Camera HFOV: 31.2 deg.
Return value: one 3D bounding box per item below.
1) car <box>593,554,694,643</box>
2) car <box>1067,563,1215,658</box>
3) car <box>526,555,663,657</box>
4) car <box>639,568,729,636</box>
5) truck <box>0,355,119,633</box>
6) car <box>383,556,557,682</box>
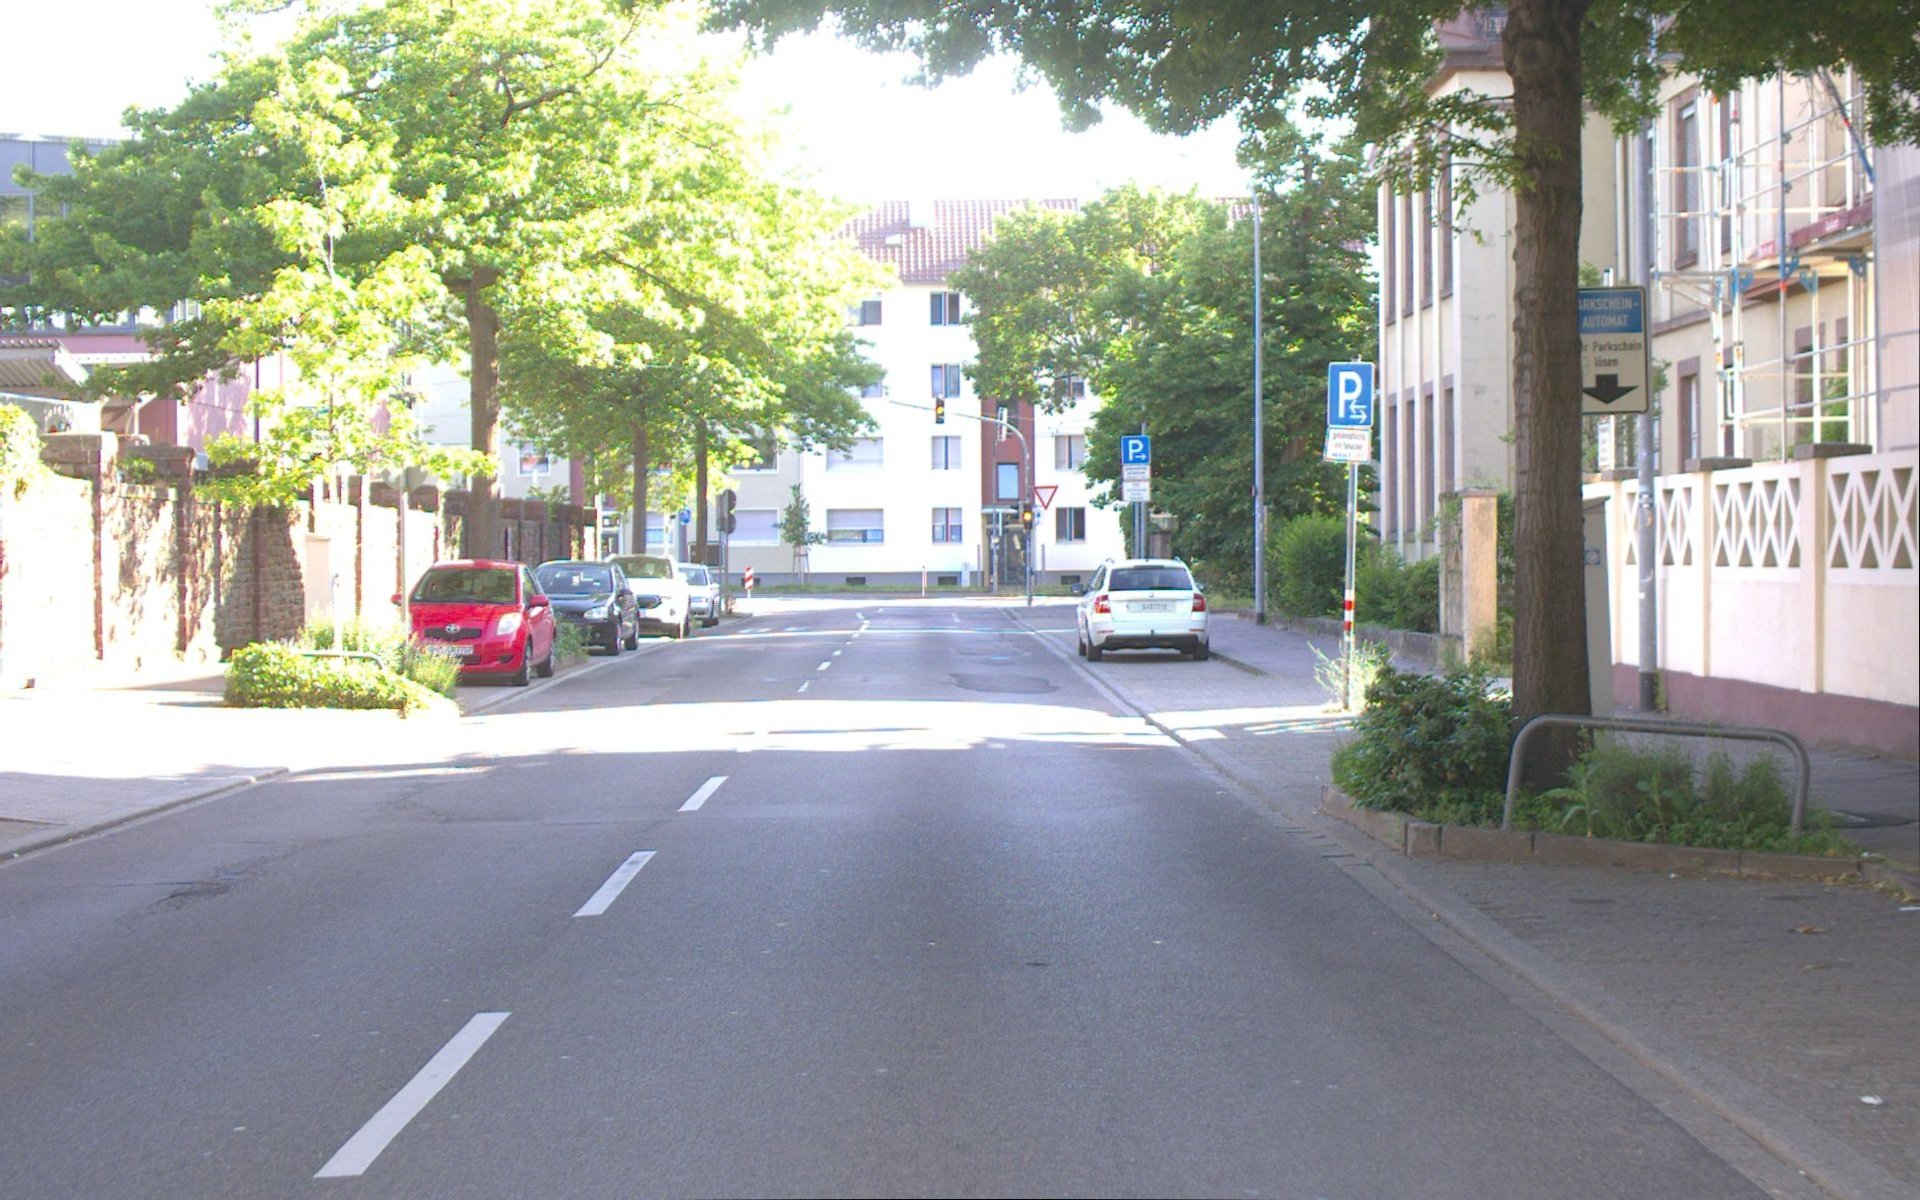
[{"bbox_3d":[-6.124,-0.049,66.916,1.720,1.678,4.351,0,1,-2],"label":"car"},{"bbox_3d":[2.610,0.130,50.510,1.832,1.318,4.496,-1,1,-1],"label":"car"},{"bbox_3d":[-5.919,0.068,56.101,1.737,1.587,4.106,0,1,1],"label":"car"},{"bbox_3d":[-6.329,0.015,79.189,1.726,1.470,4.478,2,1,-1],"label":"car"},{"bbox_3d":[-14.215,-1.478,48.828,2.732,3.698,7.428,2,0,-1],"label":"truck"},{"bbox_3d":[-6.065,0.214,42.838,1.609,1.454,3.708,2,1,0],"label":"car"}]
